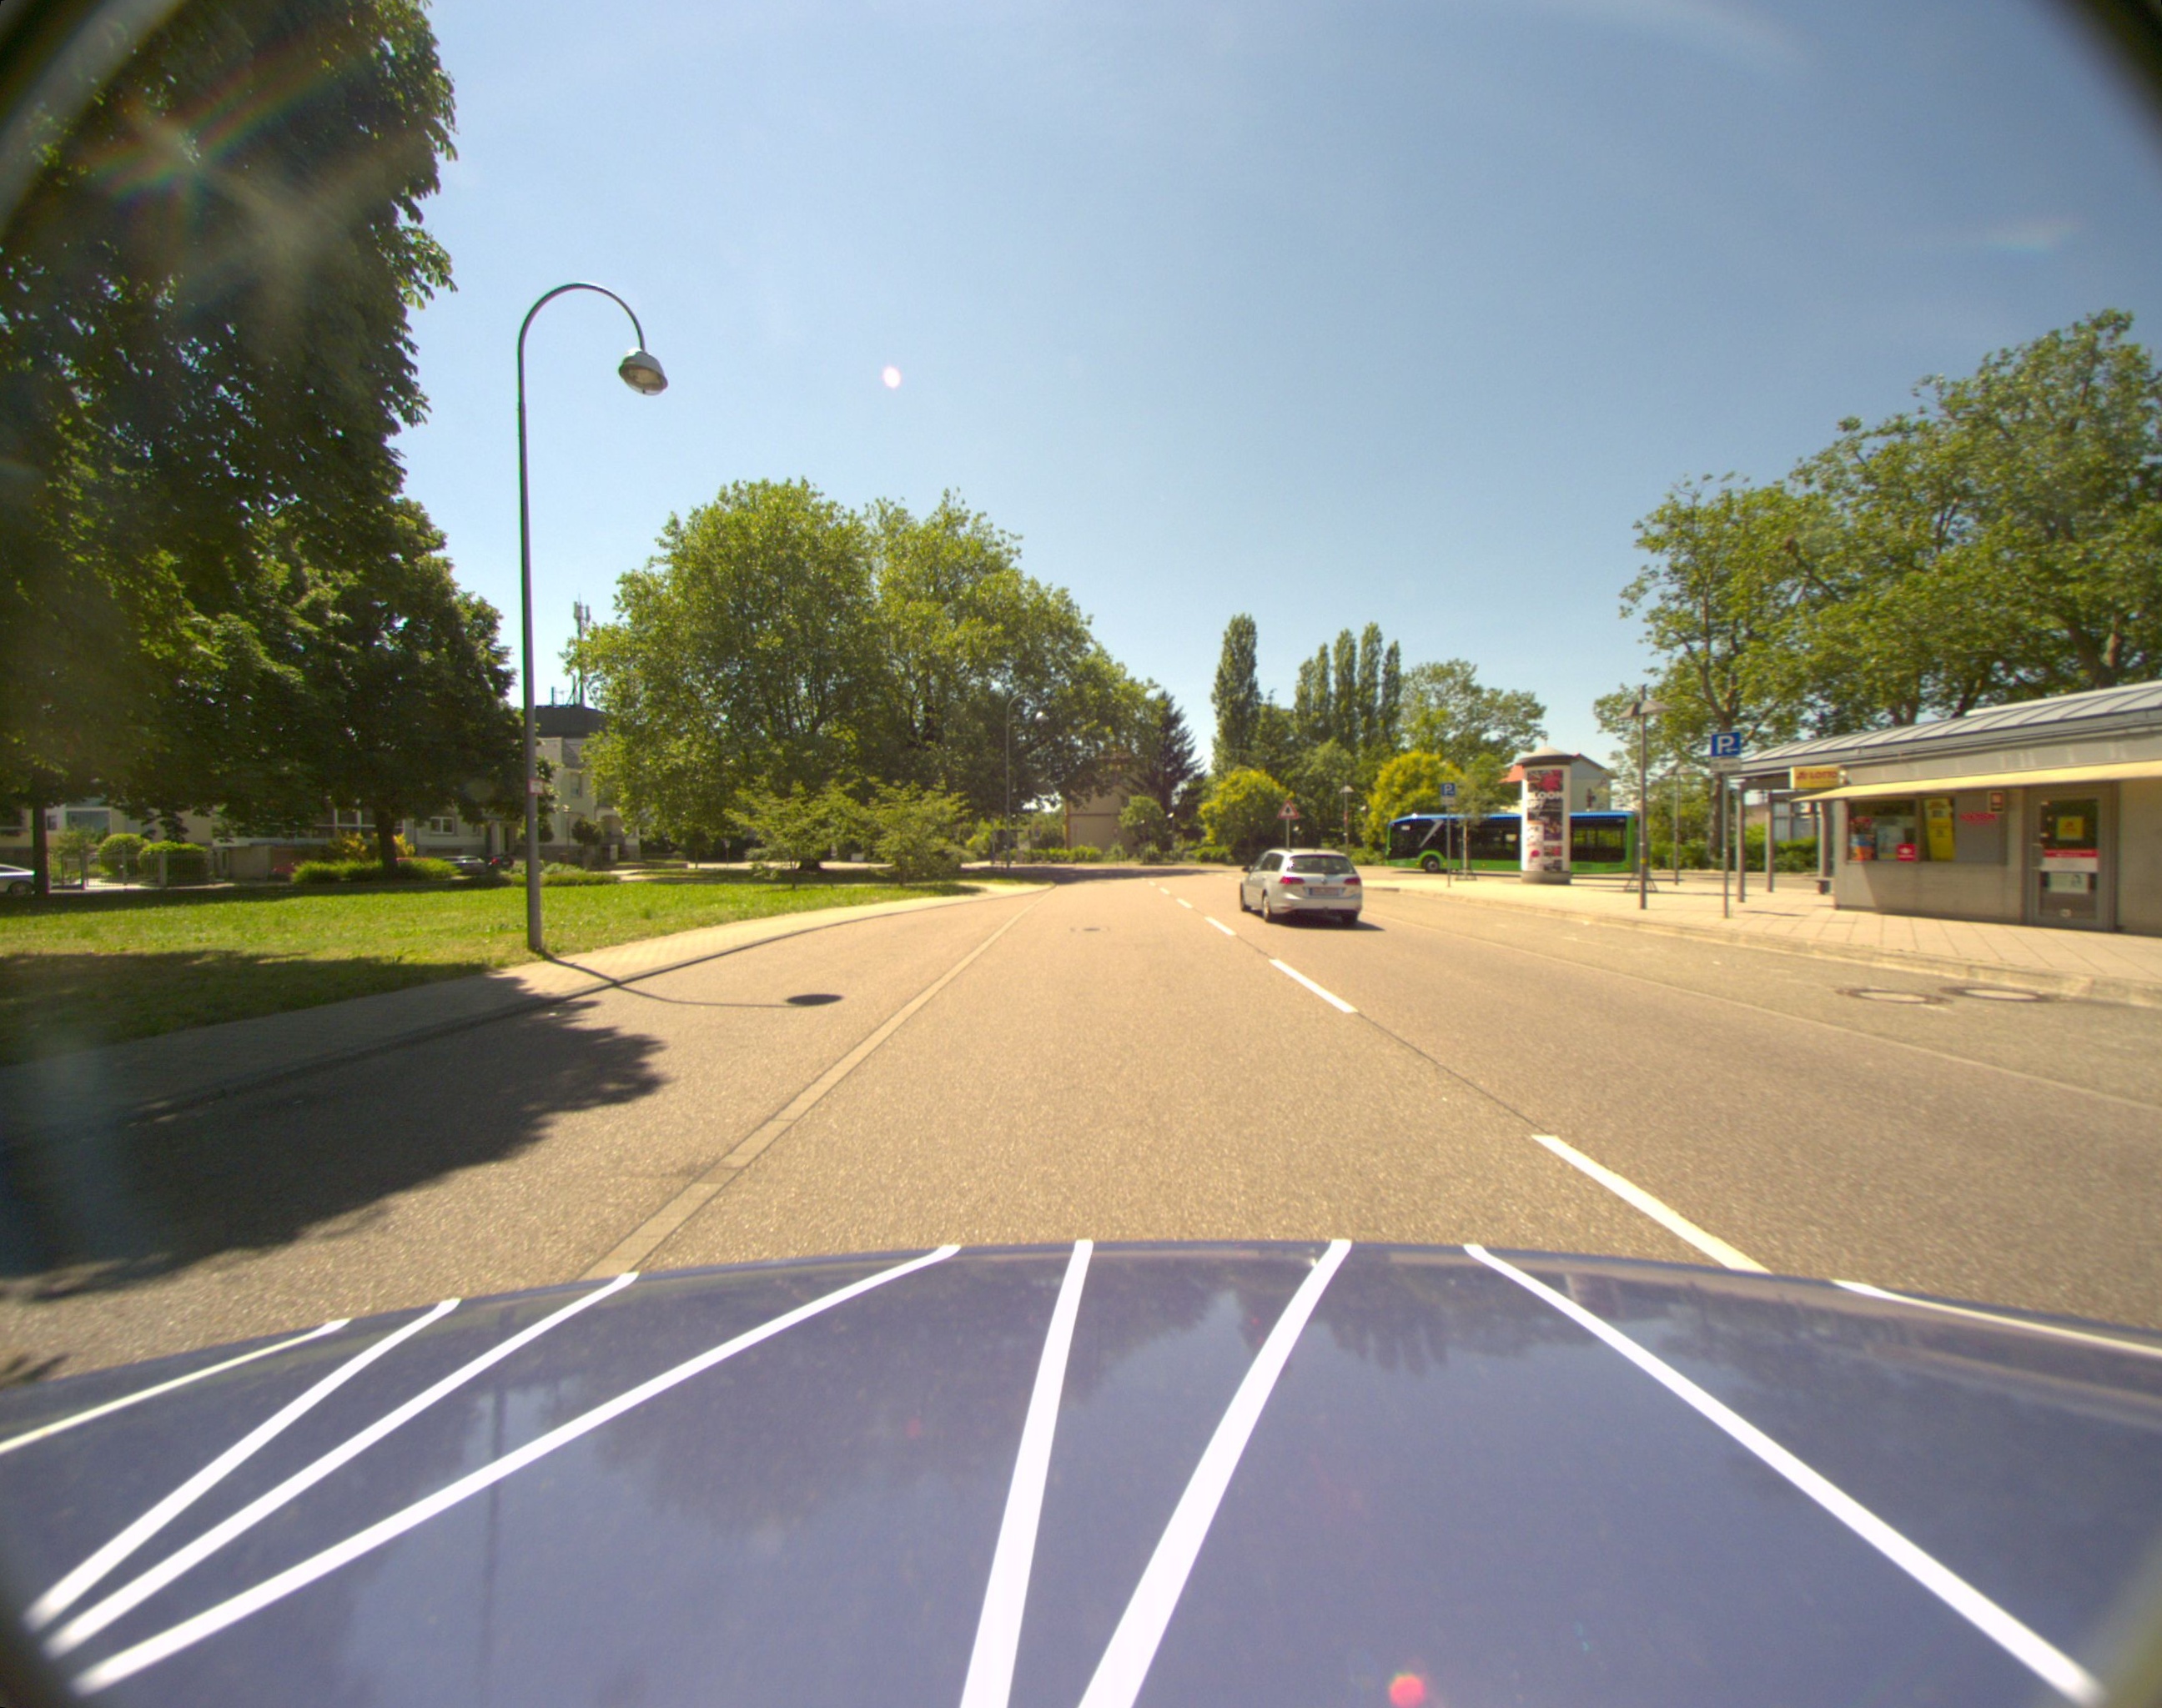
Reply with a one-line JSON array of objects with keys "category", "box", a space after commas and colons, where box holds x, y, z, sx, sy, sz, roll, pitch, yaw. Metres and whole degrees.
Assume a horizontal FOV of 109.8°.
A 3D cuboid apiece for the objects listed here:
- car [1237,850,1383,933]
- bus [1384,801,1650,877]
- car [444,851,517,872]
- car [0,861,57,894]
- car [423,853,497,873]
[{"category": "car", "box": [4.488, 0.654, 15.580, 1.819, 1.436, 4.158, 1, 0, 2]}, {"category": "bus", "box": [22.482, -0.698, 40.320, 2.173, 3.506, 12.188, -2, 1, -41]}, {"category": "car", "box": [-44.741, 0.550, 56.655, 3.995, 1.559, 2.001, 0, 1, 6]}, {"category": "car", "box": [-45.912, 1.032, 30.924, 1.667, 1.280, 4.719, 1, 2, 16]}, {"category": "car", "box": [-44.323, 0.628, 54.238, 3.993, 1.383, 2.002, 0, 1, 12]}]
